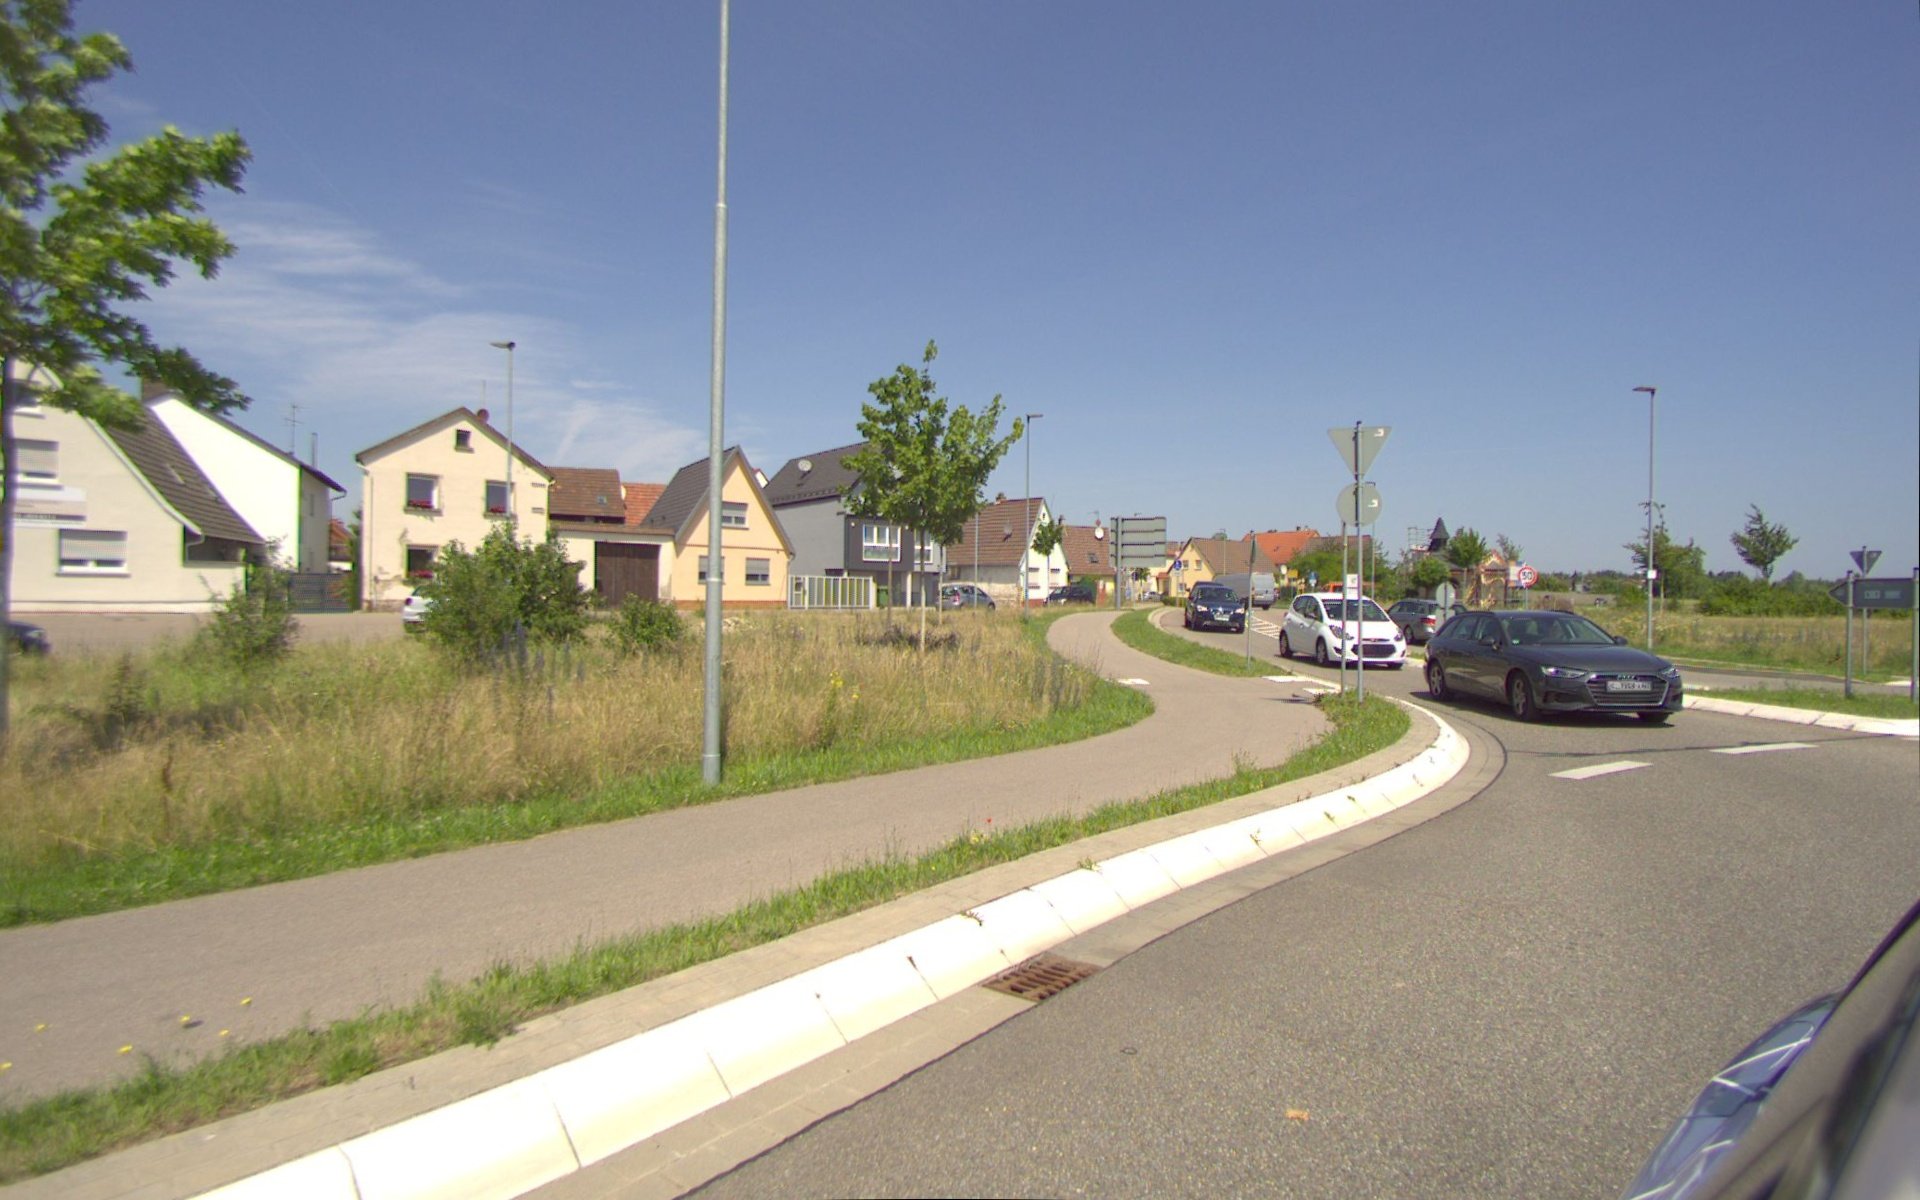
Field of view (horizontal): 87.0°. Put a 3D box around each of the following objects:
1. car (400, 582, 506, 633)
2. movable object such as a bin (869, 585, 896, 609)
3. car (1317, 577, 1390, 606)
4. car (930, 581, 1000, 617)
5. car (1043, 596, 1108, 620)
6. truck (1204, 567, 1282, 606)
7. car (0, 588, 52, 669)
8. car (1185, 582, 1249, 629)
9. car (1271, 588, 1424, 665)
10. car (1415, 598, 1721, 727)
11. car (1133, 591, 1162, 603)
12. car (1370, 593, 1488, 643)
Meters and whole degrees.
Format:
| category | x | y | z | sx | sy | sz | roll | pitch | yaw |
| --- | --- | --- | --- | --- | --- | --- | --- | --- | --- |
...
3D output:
| category | x | y | z | sx | sy | sz | roll | pitch | yaw |
| --- | --- | --- | --- | --- | --- | --- | --- | --- | --- |
| car | -15.071 | 0.173 | 30.292 | 1.617 | 1.410 | 4.006 | 1 | 1 | -8 |
| movable object such as a bin | -4.516 | -0.190 | 59.125 | 1.081 | 1.407 | 1.185 | 1 | 0 | 41 |
| car | 37.243 | -0.853 | 95.950 | 2.312 | 2.616 | 6.135 | 1 | 0 | -36 |
| car | 0.309 | -0.064 | 55.386 | 1.844 | 1.853 | 3.946 | 1 | 1 | 37 |
| car | 7.151 | 0.483 | 62.492 | 3.696 | 1.368 | 1.854 | 0 | 1 | -35 |
| truck | 19.389 | -0.951 | 69.693 | 2.190 | 2.537 | 5.647 | 1 | 1 | -22 |
| car | -17.273 | 0.465 | 16.092 | 1.736 | 1.328 | 3.951 | 1 | 1 | 34 |
| car | 9.286 | 0.162 | 36.849 | 1.692 | 1.581 | 4.145 | 0 | 1 | 6 |
| car | 8.761 | 0.524 | 23.325 | 1.834 | 1.581 | 4.520 | 0 | 1 | 1 |
| car | 8.240 | 0.744 | 14.303 | 1.836 | 1.452 | 4.516 | -2 | 1 | 4 |
| car | 24.235 | -0.436 | 130.614 | 3.509 | 1.488 | 1.522 | 1 | 1 | -28 |
| car | 15.368 | 0.558 | 33.448 | 1.804 | 1.509 | 4.863 | 0 | 0 | 3 |
